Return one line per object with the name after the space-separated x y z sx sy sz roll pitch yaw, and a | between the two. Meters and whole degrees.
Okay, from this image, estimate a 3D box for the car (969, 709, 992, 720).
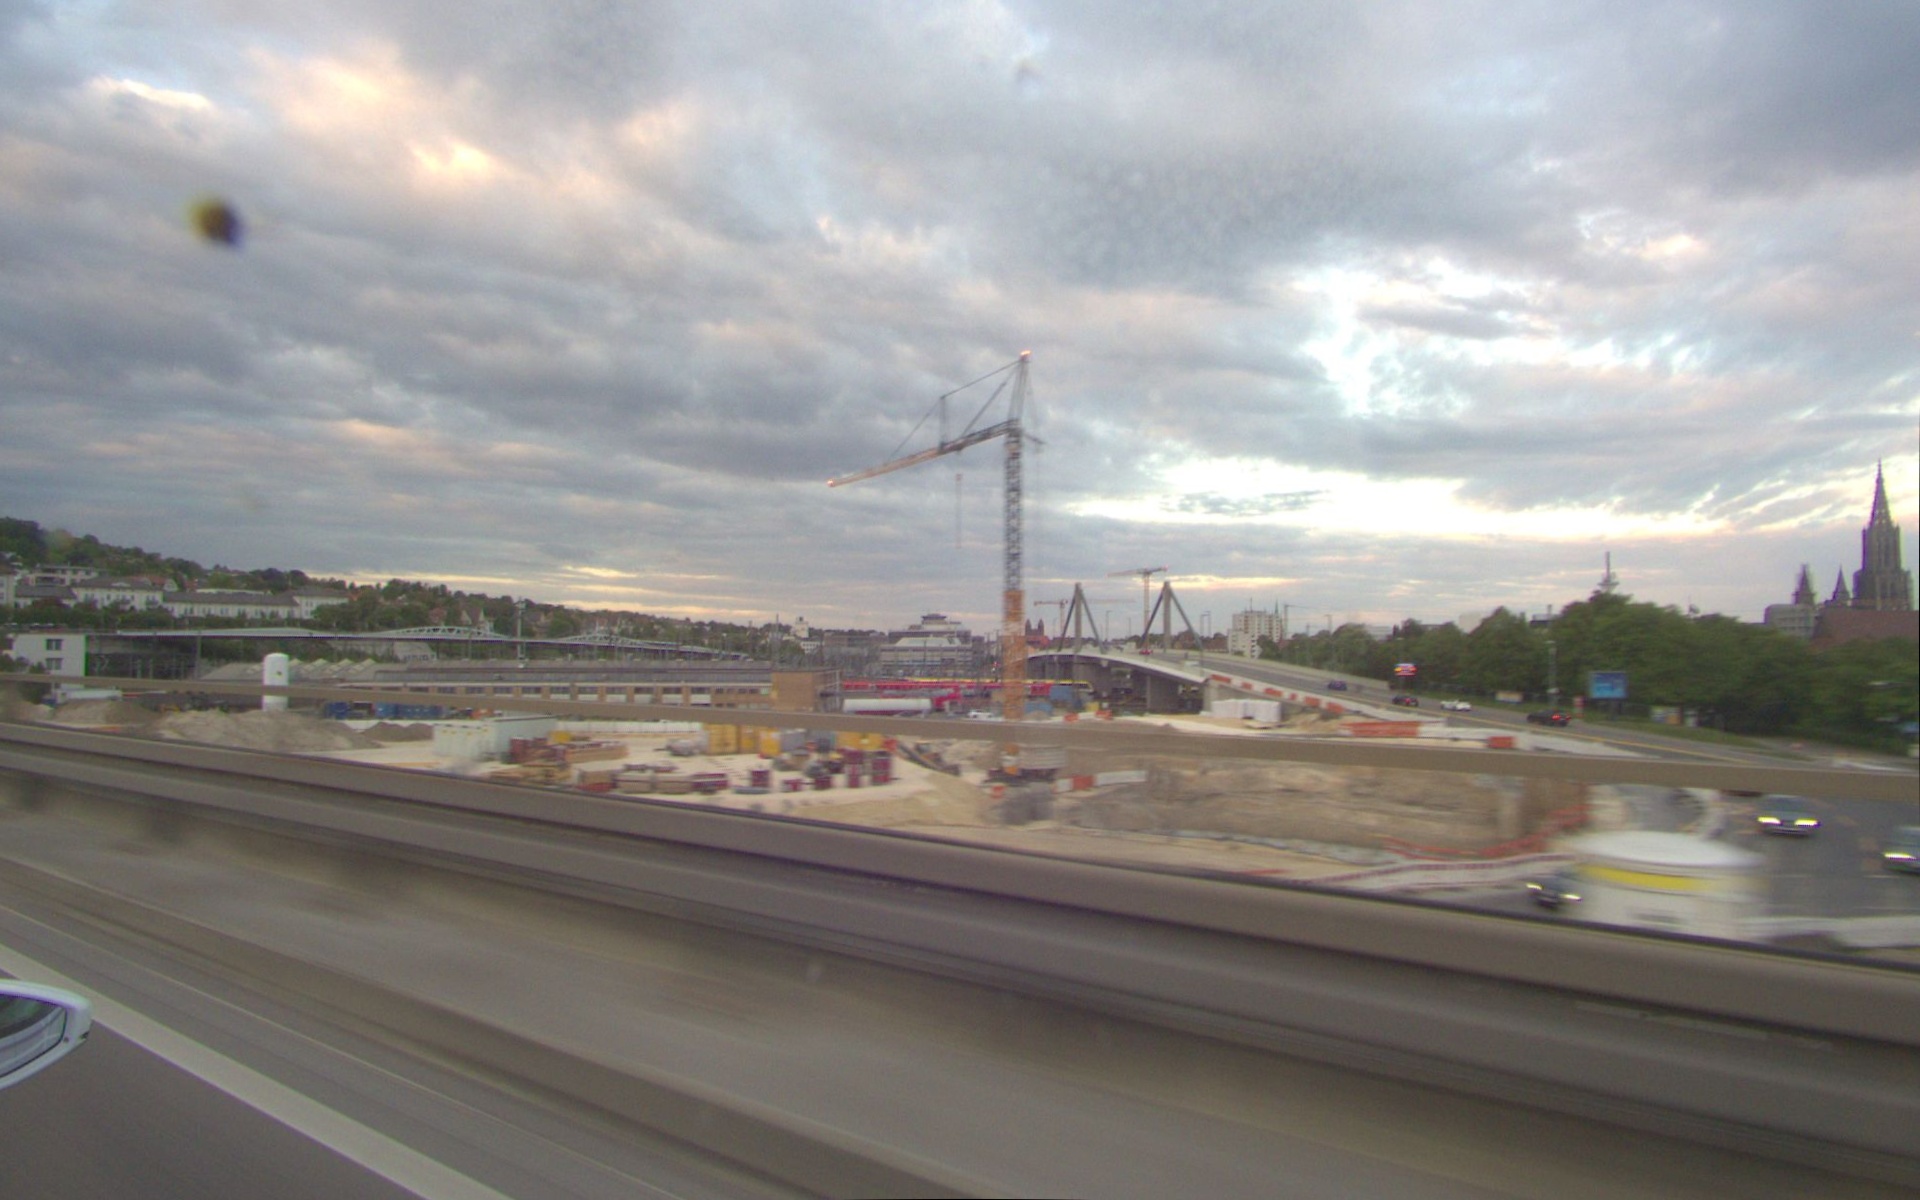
3.440 19.472 170.331 3.619 1.593 1.440 5 -7 -12 | car

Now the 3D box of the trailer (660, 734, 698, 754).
-22.593 11.531 80.387 1.761 1.256 4.228 4 -4 -32 | trailer

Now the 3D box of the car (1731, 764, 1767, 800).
47.413 10.884 60.134 1.629 1.639 3.740 -1 -3 39 | car

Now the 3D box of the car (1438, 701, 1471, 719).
58.046 12.891 117.583 1.565 1.760 3.705 5 -2 -6 | car

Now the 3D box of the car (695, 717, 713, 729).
-39.610 19.031 154.898 1.835 1.669 4.009 4 -8 -2 | car

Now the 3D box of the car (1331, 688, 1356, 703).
56.302 13.985 147.185 1.744 1.760 4.000 5 -2 -6 | car

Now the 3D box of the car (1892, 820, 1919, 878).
40.477 10.462 42.013 1.785 1.741 4.069 -4 -4 41 | car

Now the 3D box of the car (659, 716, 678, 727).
-45.078 18.823 154.917 1.835 1.435 4.009 4 -8 -2 | car

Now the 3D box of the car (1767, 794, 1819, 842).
40.808 10.634 49.026 1.629 1.760 3.761 -2 -5 45 | car

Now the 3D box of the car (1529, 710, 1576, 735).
59.538 12.319 100.721 1.962 2.038 4.001 5 -3 -6 | car

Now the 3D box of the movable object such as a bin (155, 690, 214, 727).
-99.927 14.002 129.078 2.733 4.356 4.965 1 -8 14 | movable object such as a bin

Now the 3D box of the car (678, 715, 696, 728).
-42.293 18.824 155.123 1.835 1.733 4.009 4 -8 -2 | car
